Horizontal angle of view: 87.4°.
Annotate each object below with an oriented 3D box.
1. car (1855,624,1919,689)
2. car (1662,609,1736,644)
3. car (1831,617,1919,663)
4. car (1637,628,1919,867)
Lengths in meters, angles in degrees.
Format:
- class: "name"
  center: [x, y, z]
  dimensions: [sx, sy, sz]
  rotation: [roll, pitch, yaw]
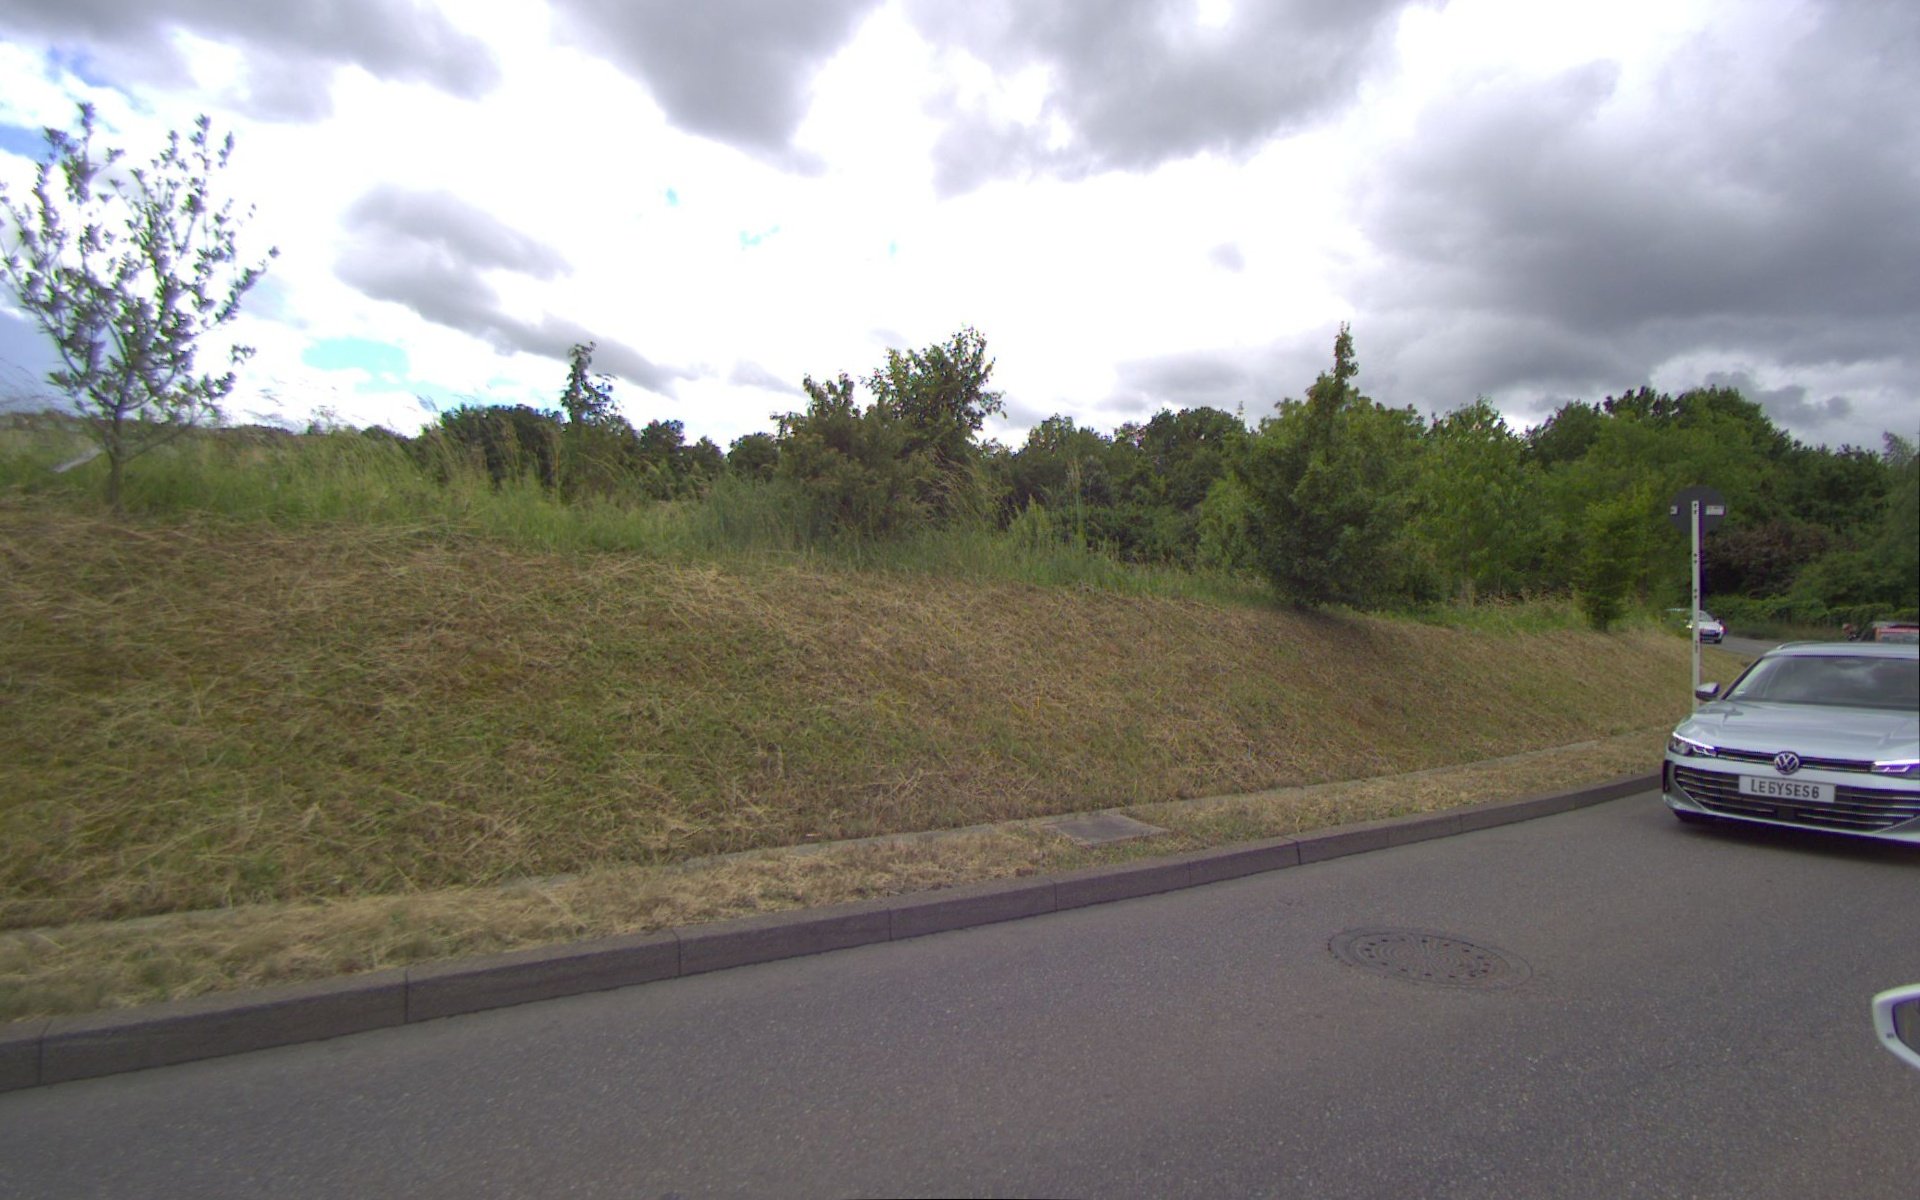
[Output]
- class: "car"
  center: [23.398, 1.371, 24.907]
  dimensions: [1.721, 1.435, 3.734]
  rotation: [3, 1, 41]
- class: "car"
  center: [34.741, 1.212, 47.355]
  dimensions: [1.745, 1.515, 3.914]
  rotation: [2, 0, 20]
- class: "car"
  center: [33.303, 1.405, 36.211]
  dimensions: [1.811, 1.503, 3.997]
  rotation: [1, 0, 25]
- class: "car"
  center: [7.553, 1.011, 8.465]
  dimensions: [4.563, 1.497, 1.866]
  rotation: [1, -1, -40]
